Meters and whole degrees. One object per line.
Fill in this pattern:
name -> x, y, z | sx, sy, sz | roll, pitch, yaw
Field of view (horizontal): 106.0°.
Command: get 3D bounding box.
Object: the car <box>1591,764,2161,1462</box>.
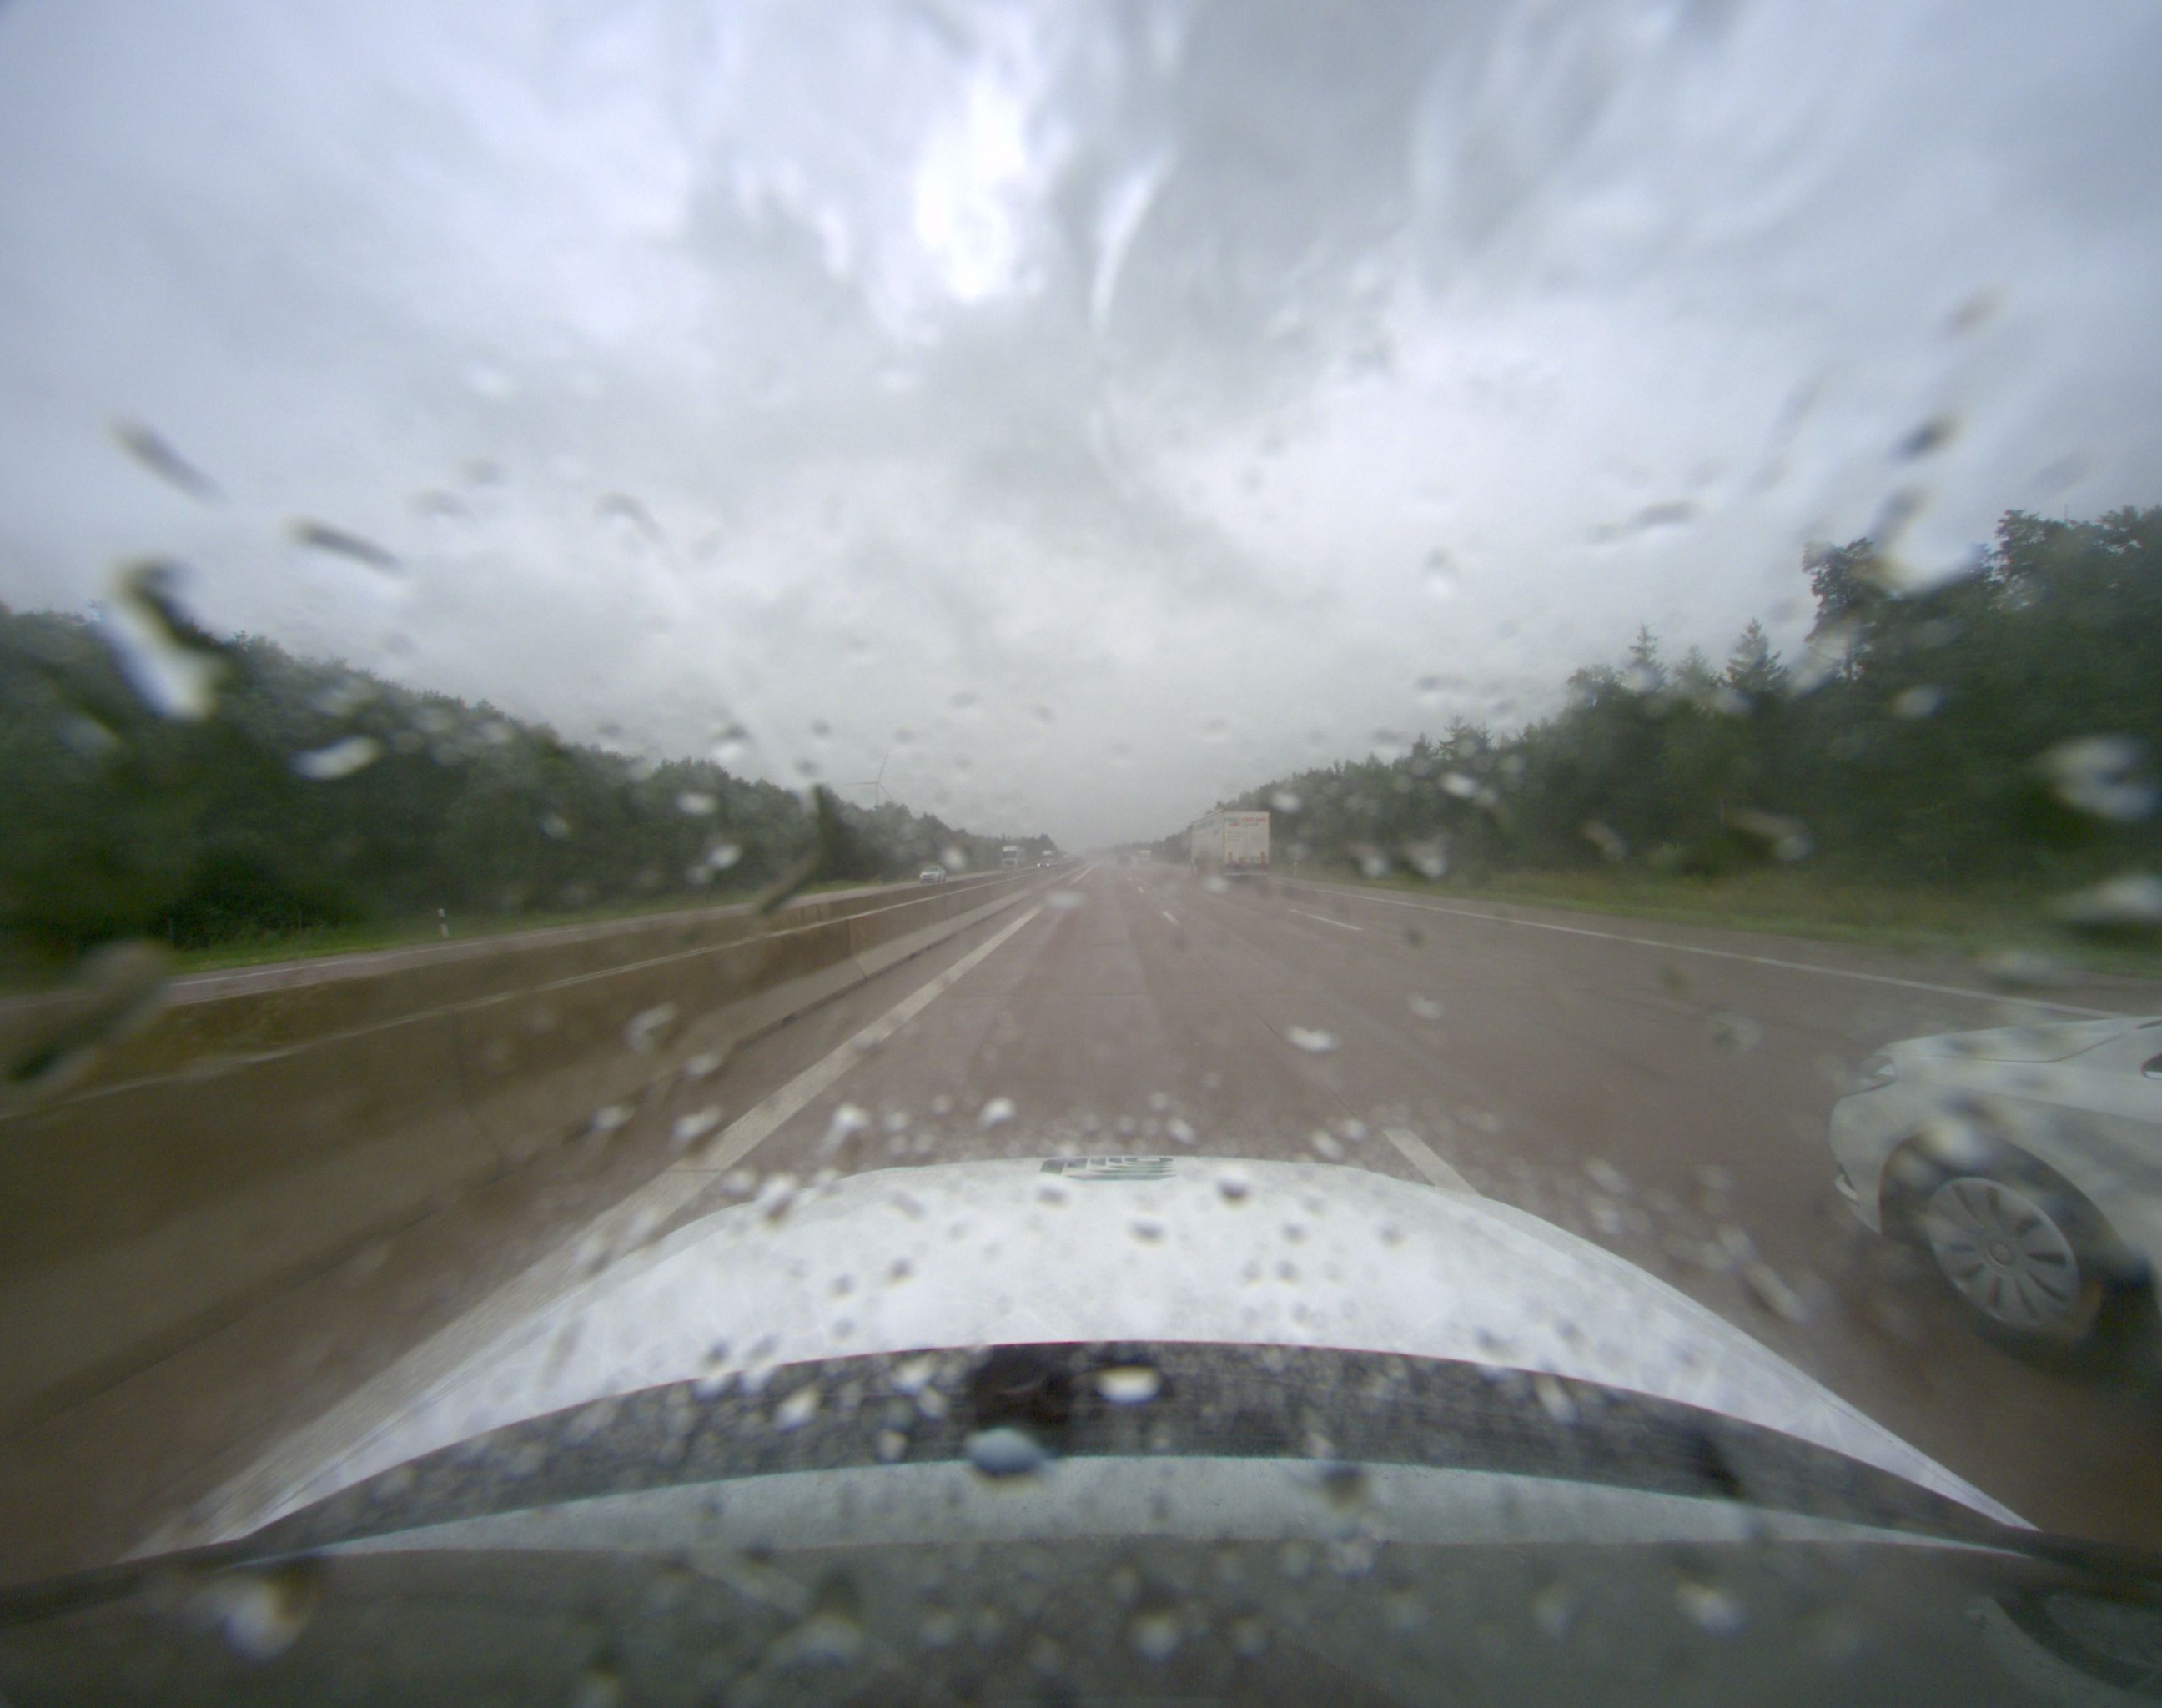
car -> 3.575, 0.638, 1.912 | 1.802, 1.728, 4.743 | 0, 0, 0

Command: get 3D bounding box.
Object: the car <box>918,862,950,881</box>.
car -> -13.021, 1.538, 72.355 | 1.747, 1.480, 4.585 | -5, 0, 2

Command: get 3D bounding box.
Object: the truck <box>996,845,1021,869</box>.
truck -> -12.313, 0.504, 139.869 | 3.460, 3.889, 7.465 | 0, -1, 1

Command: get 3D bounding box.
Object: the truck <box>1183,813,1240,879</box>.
truck -> 8.892, -0.546, 55.989 | 2.870, 4.106, 6.351 | -3, 0, 1

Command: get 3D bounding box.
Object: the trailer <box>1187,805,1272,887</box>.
trailer -> 8.770, -0.468, 49.944 | 2.842, 4.231, 13.135 | -3, 0, 1
